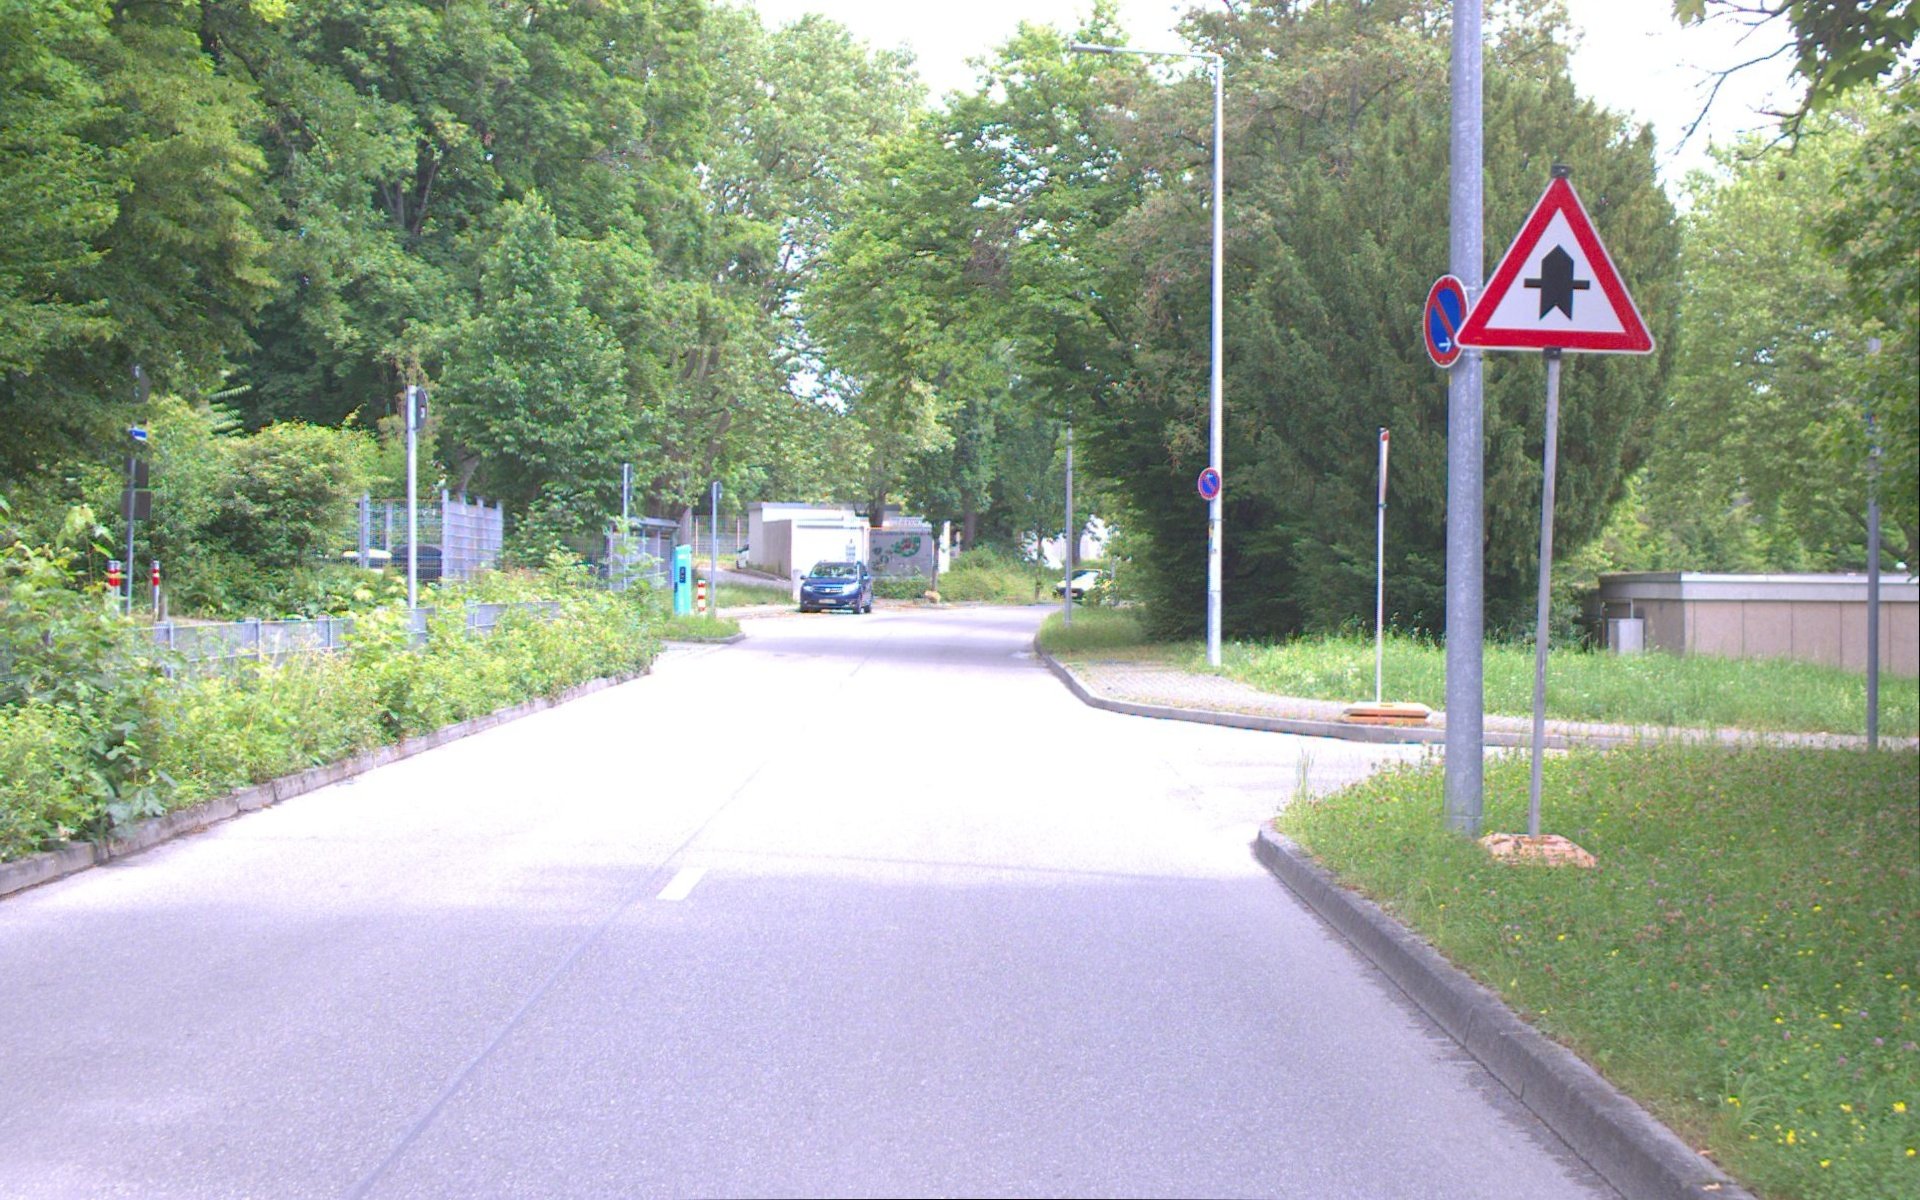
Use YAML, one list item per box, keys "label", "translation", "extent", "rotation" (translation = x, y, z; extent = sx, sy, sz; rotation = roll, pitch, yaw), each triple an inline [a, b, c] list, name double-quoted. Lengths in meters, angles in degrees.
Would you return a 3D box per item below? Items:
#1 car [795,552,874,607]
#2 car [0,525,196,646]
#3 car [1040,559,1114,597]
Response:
- label: "car"
  translation: [-3.593, -0.580, 99.301]
  extent: [1.680, 1.506, 4.430]
  rotation: [2, 0, 5]
- label: "car"
  translation: [-15.021, -0.262, 59.602]
  extent: [1.994, 2.007, 3.998]
  rotation: [1, 1, 12]
- label: "car"
  translation: [4.653, -0.865, 136.249]
  extent: [1.702, 1.398, 4.269]
  rotation: [2, 0, 19]
